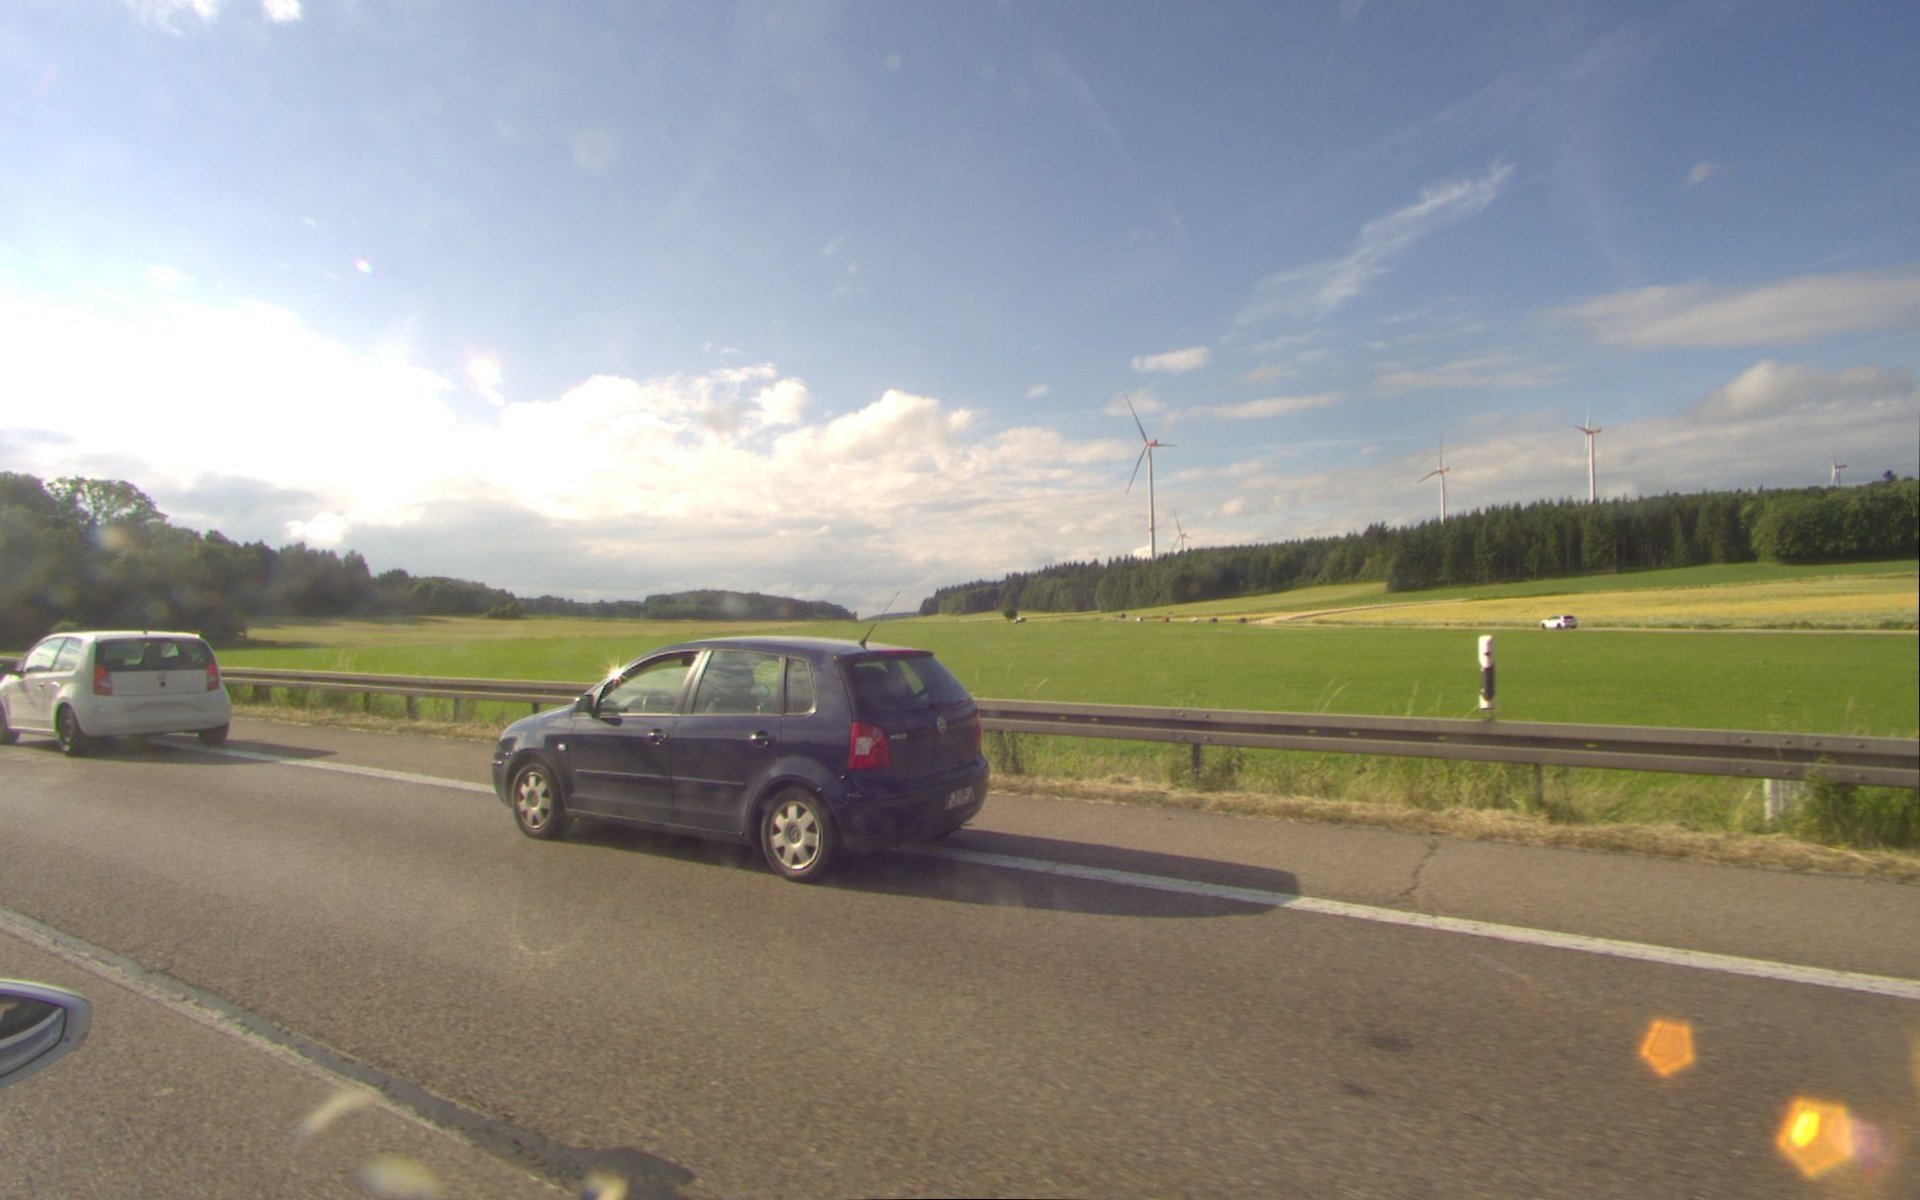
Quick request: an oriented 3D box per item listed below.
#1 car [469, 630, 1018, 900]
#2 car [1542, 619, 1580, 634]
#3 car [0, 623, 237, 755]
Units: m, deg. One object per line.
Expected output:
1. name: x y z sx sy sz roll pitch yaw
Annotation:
1. car: -1.621 0.965 7.158 3.720 1.464 1.707 -2 -2 32
2. car: 69.033 3.085 115.050 1.961 1.638 4.002 0 -2 -1
3. car: -11.122 1.065 13.080 3.328 1.514 1.547 0 -1 31
